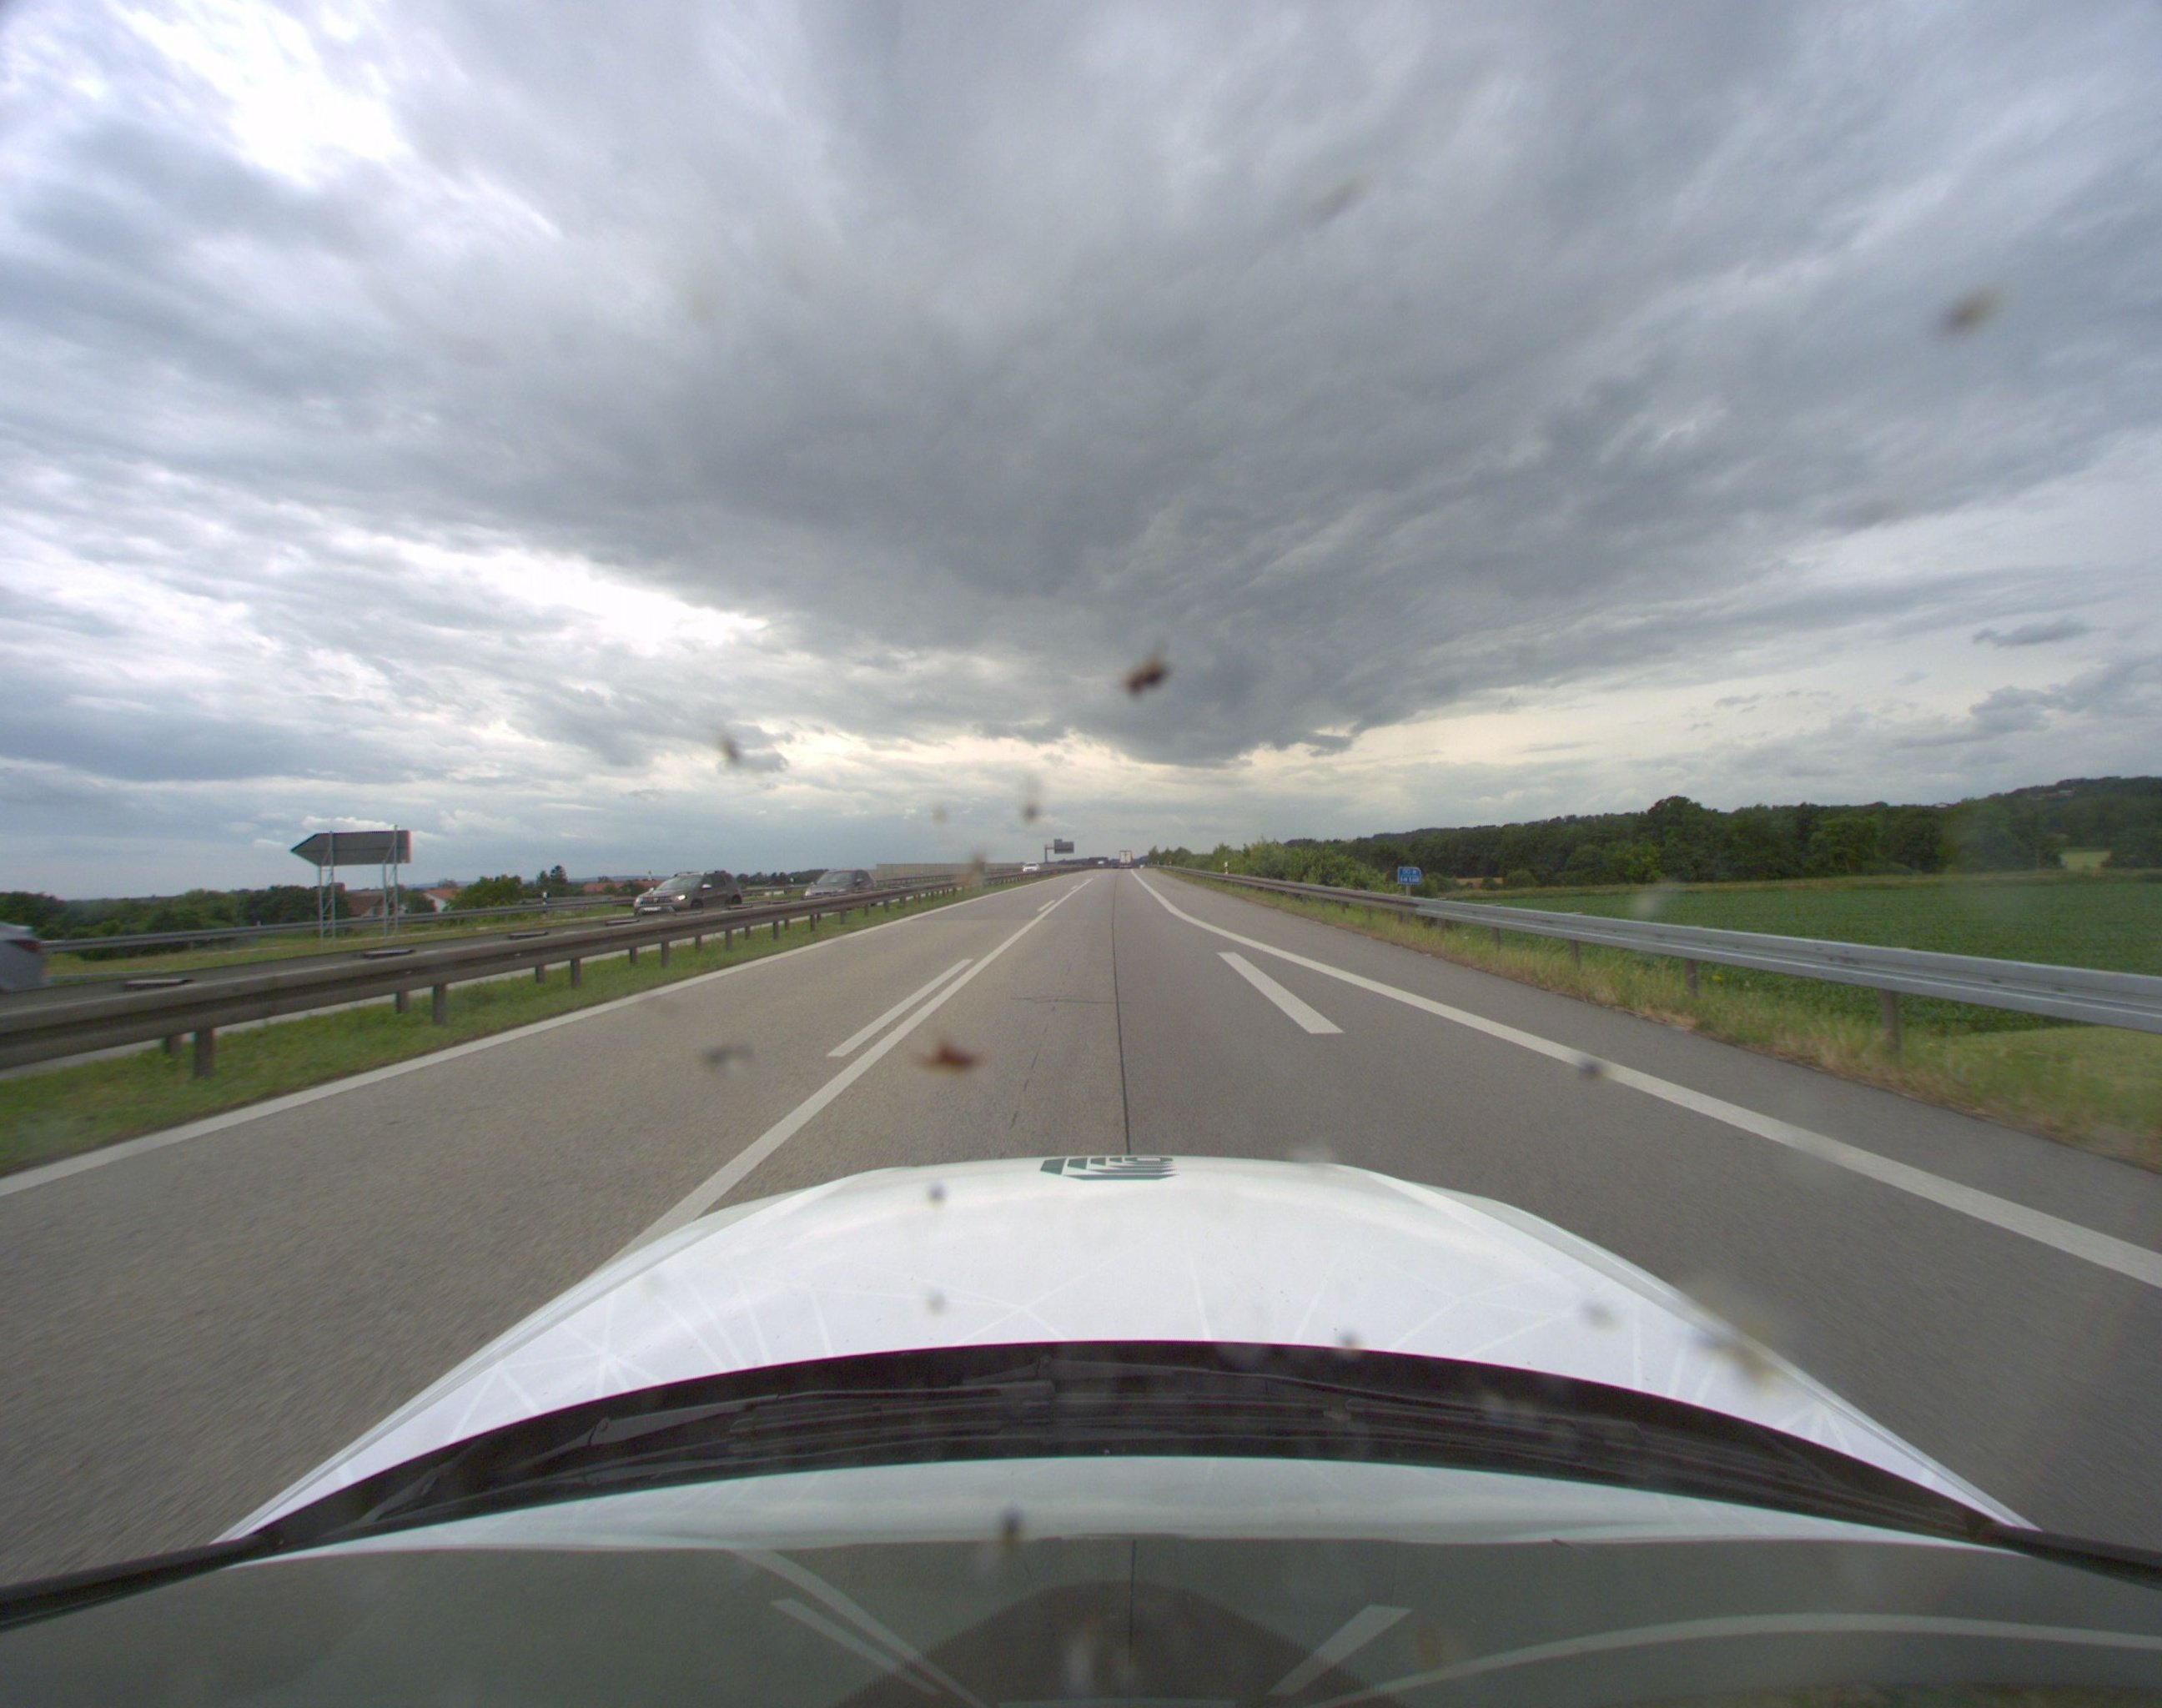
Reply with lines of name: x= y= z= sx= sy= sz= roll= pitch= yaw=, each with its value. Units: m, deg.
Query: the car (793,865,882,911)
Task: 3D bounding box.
car: x=-8.558 y=1.168 z=29.012 sx=1.793 sy=1.393 sz=4.002 roll=-3 pitch=0 yaw=2

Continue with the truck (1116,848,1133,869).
truck: x=10.251 y=1.058 z=190.089 sx=3.656 sy=4.413 sz=16.355 roll=-2 pitch=-2 yaw=4

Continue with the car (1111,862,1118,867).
car: x=10.212 y=3.278 z=249.061 sx=1.986 sy=1.420 sz=4.001 roll=-1 pitch=-1 yaw=1

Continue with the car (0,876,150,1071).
car: x=-10.088 y=1.050 z=5.323 sx=2.128 sy=1.588 sz=5.000 roll=-3 pitch=0 yaw=1

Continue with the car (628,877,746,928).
car: x=-12.700 y=1.508 z=26.572 sx=1.793 sy=1.393 sz=4.002 roll=0 pitch=0 yaw=2

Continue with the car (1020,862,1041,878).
car: x=-6.392 y=2.038 z=104.396 sx=2.062 sy=1.746 sz=4.963 roll=-4 pitch=0 yaw=2
